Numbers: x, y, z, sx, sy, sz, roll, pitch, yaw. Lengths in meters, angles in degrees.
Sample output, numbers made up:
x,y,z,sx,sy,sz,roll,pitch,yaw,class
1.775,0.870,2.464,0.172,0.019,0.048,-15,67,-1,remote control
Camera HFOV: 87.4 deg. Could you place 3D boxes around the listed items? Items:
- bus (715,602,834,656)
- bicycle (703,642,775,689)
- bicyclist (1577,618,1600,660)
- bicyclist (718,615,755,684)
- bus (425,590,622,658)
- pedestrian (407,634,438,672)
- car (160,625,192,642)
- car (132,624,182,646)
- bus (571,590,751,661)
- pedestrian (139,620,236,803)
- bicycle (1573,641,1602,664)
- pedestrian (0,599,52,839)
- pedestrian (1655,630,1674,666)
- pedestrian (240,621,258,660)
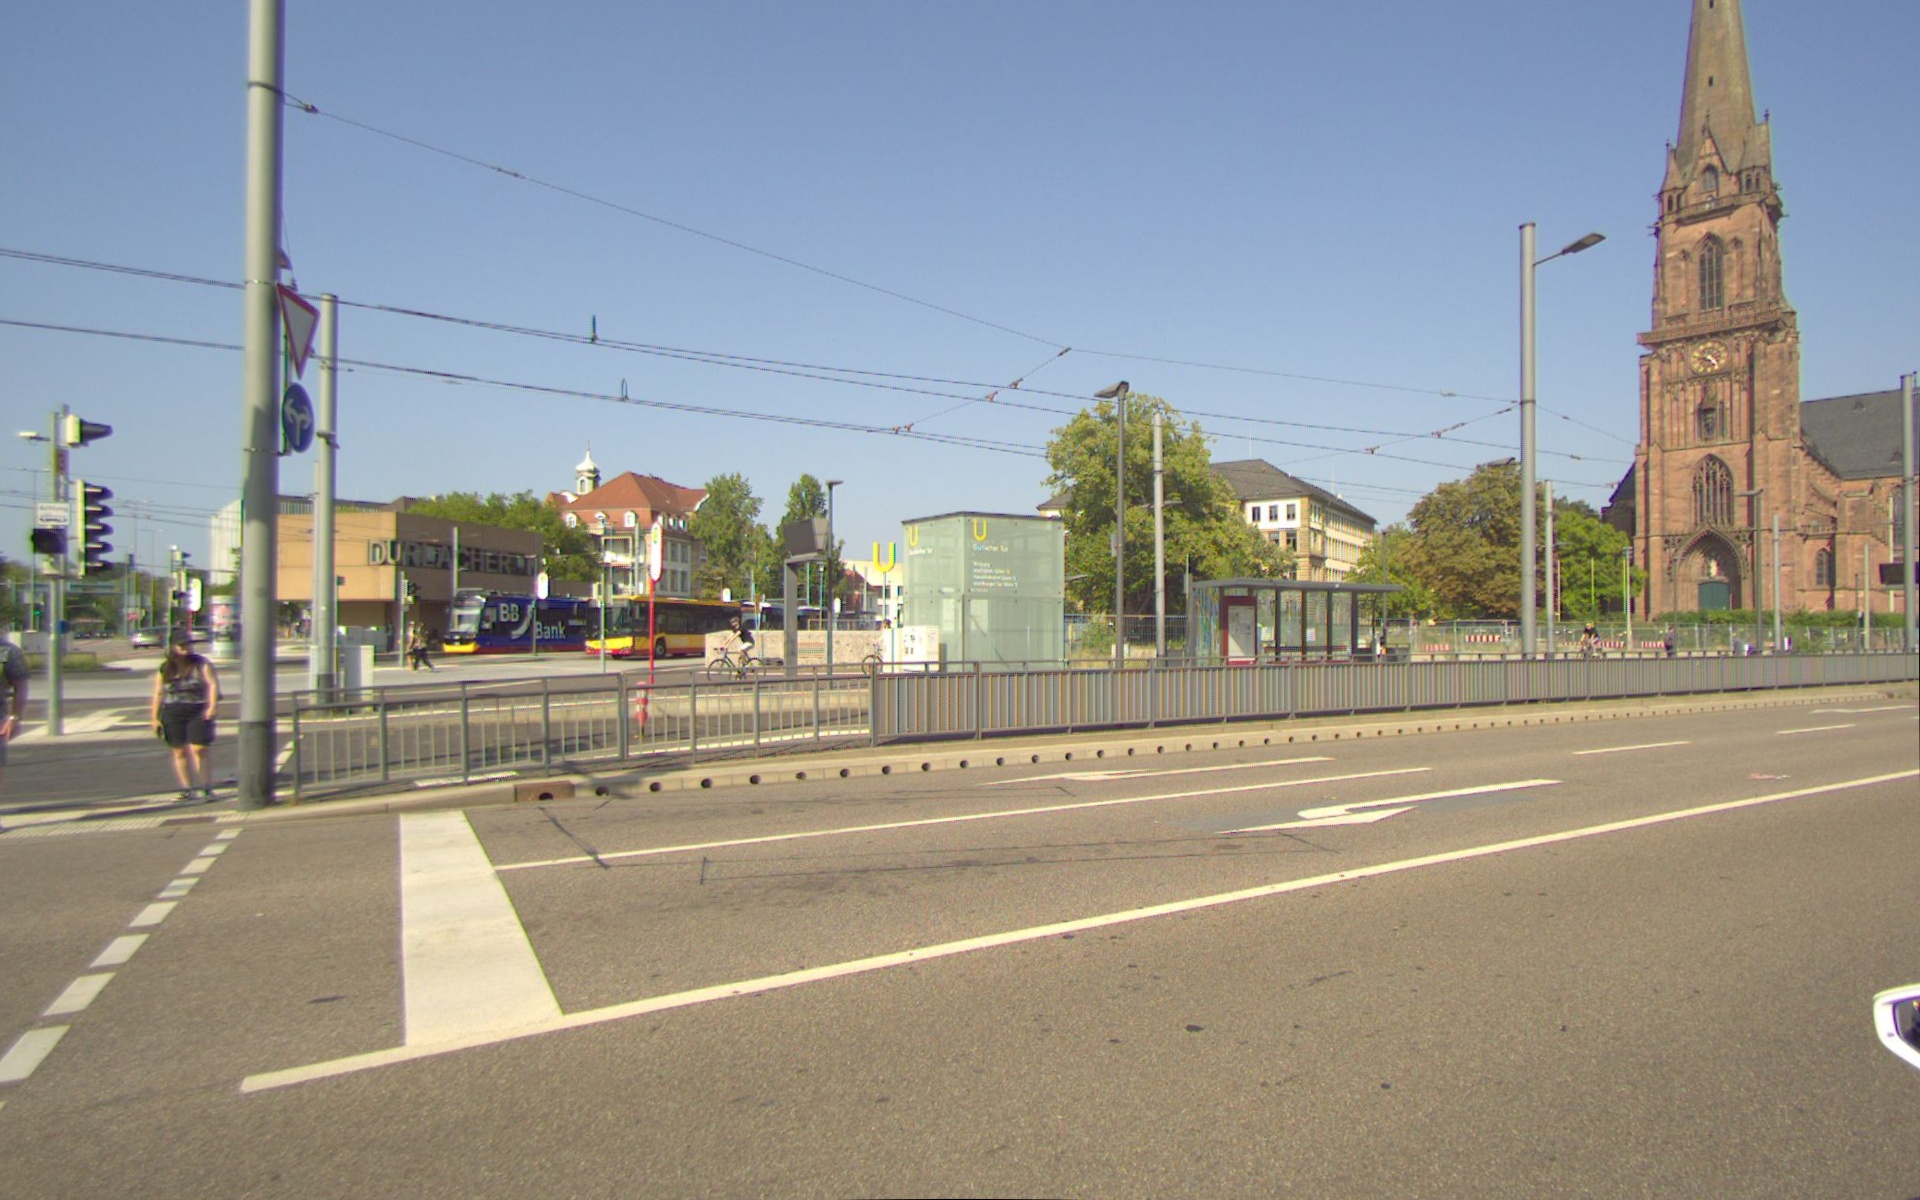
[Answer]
x,y,z,sx,sy,sz,roll,pitch,yaw,class
-11.980,1.923,66.906,3.159,3.220,13.327,0,-2,11,bus
-5.528,1.625,25.184,1.727,1.124,0.399,1,-2,-32,bicycle
26.941,1.679,43.055,0.810,1.770,0.484,1,-2,-31,bicyclist
-5.595,1.231,25.131,0.781,1.678,0.584,1,-2,-30,bicyclist
-24.689,1.419,58.172,3.160,3.464,13.326,0,-2,13,bus
-18.868,1.857,35.254,0.752,1.309,0.558,0,-1,13,pedestrian
-70.517,3.010,90.417,1.473,1.470,3.503,1,-2,-25,car
-56.097,2.441,70.241,1.758,1.528,3.976,1,-2,-25,car
-15.095,1.378,52.597,3.159,3.220,13.326,0,-2,12,bus
-7.001,0.988,9.132,0.541,1.568,0.804,1,-4,-29,pedestrian
26.930,2.247,43.099,1.676,0.966,0.348,1,-2,-31,bicycle
-7.295,0.872,7.431,0.644,1.714,0.810,1,-4,-30,pedestrian
34.051,2.293,48.530,0.657,1.723,0.514,1,-1,-32,pedestrian
-32.775,1.874,46.300,0.395,1.792,0.559,0,-1,16,pedestrian
